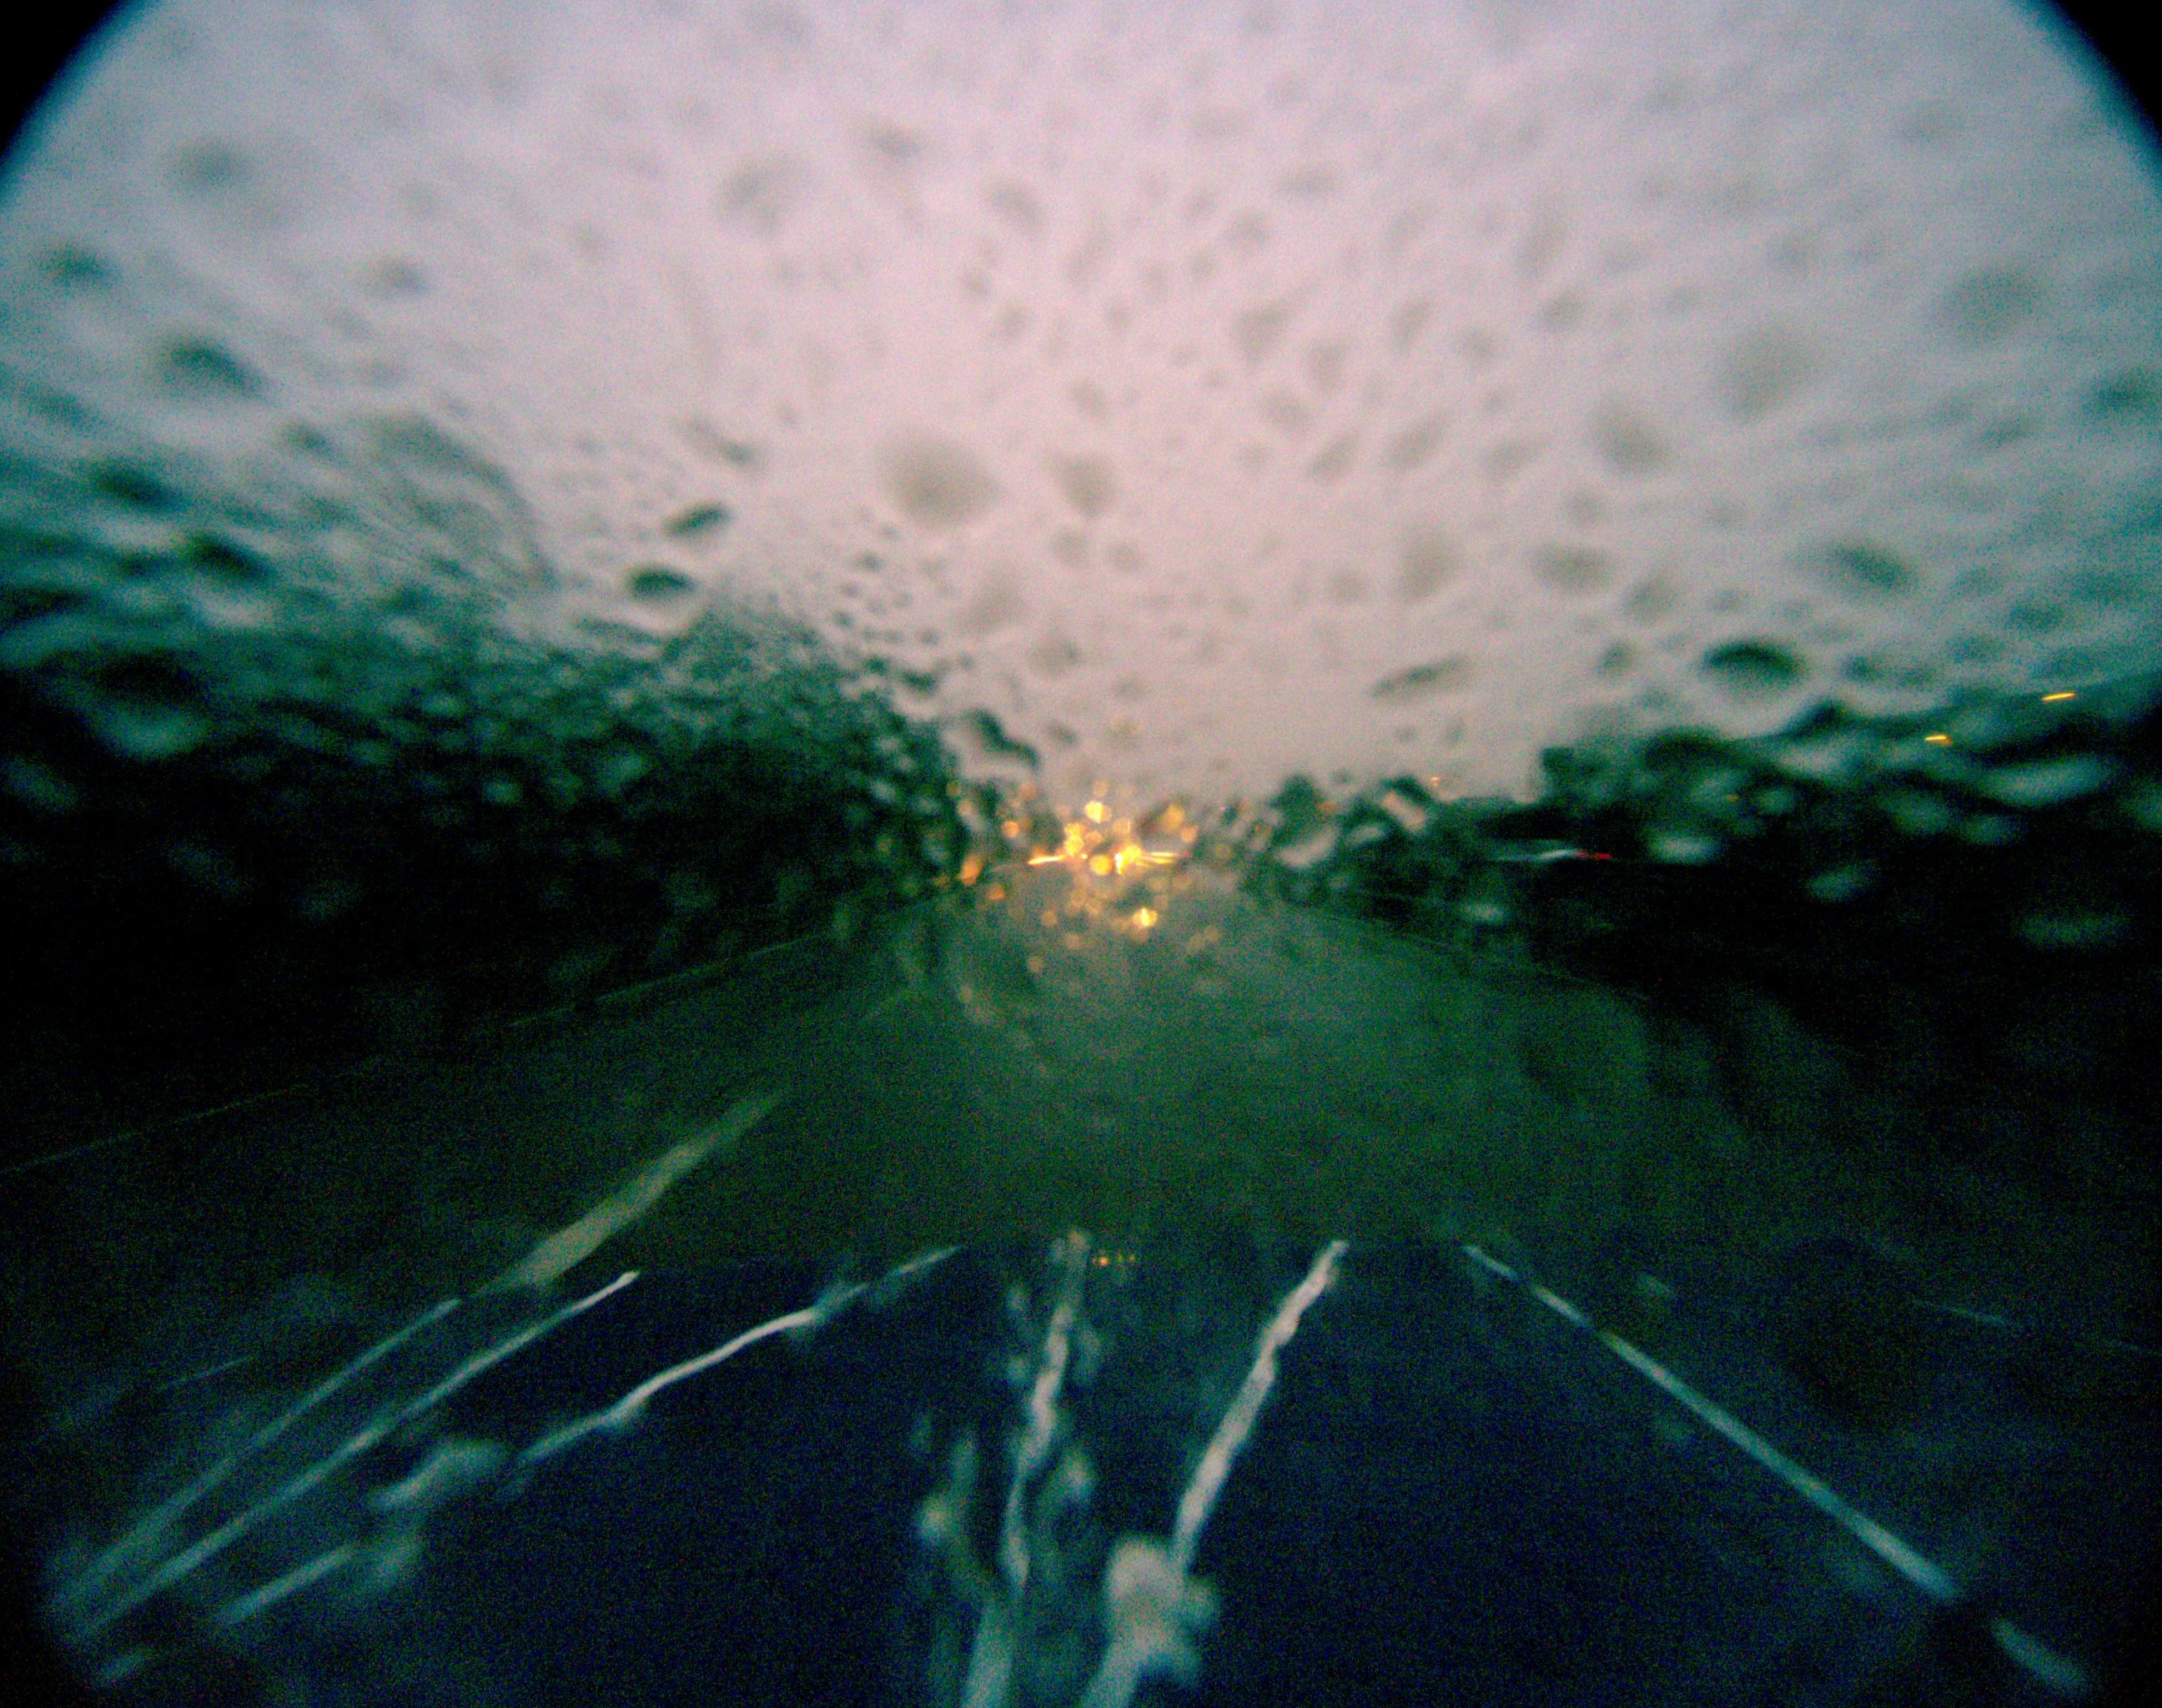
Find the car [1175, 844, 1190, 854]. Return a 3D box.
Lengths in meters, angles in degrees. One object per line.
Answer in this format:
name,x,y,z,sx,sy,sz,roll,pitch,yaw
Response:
car,15.287,-0.758,114.190,1.707,1.467,4.365,-2,1,1

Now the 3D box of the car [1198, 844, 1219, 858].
car,14.609,-0.383,87.248,1.707,1.467,4.365,-2,1,1

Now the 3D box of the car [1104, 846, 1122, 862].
car,4.295,-0.014,101.553,1.999,2.002,3.999,-4,1,-1

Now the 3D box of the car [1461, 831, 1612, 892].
car,13.533,0.185,22.941,1.767,1.617,4.525,-2,1,-1
